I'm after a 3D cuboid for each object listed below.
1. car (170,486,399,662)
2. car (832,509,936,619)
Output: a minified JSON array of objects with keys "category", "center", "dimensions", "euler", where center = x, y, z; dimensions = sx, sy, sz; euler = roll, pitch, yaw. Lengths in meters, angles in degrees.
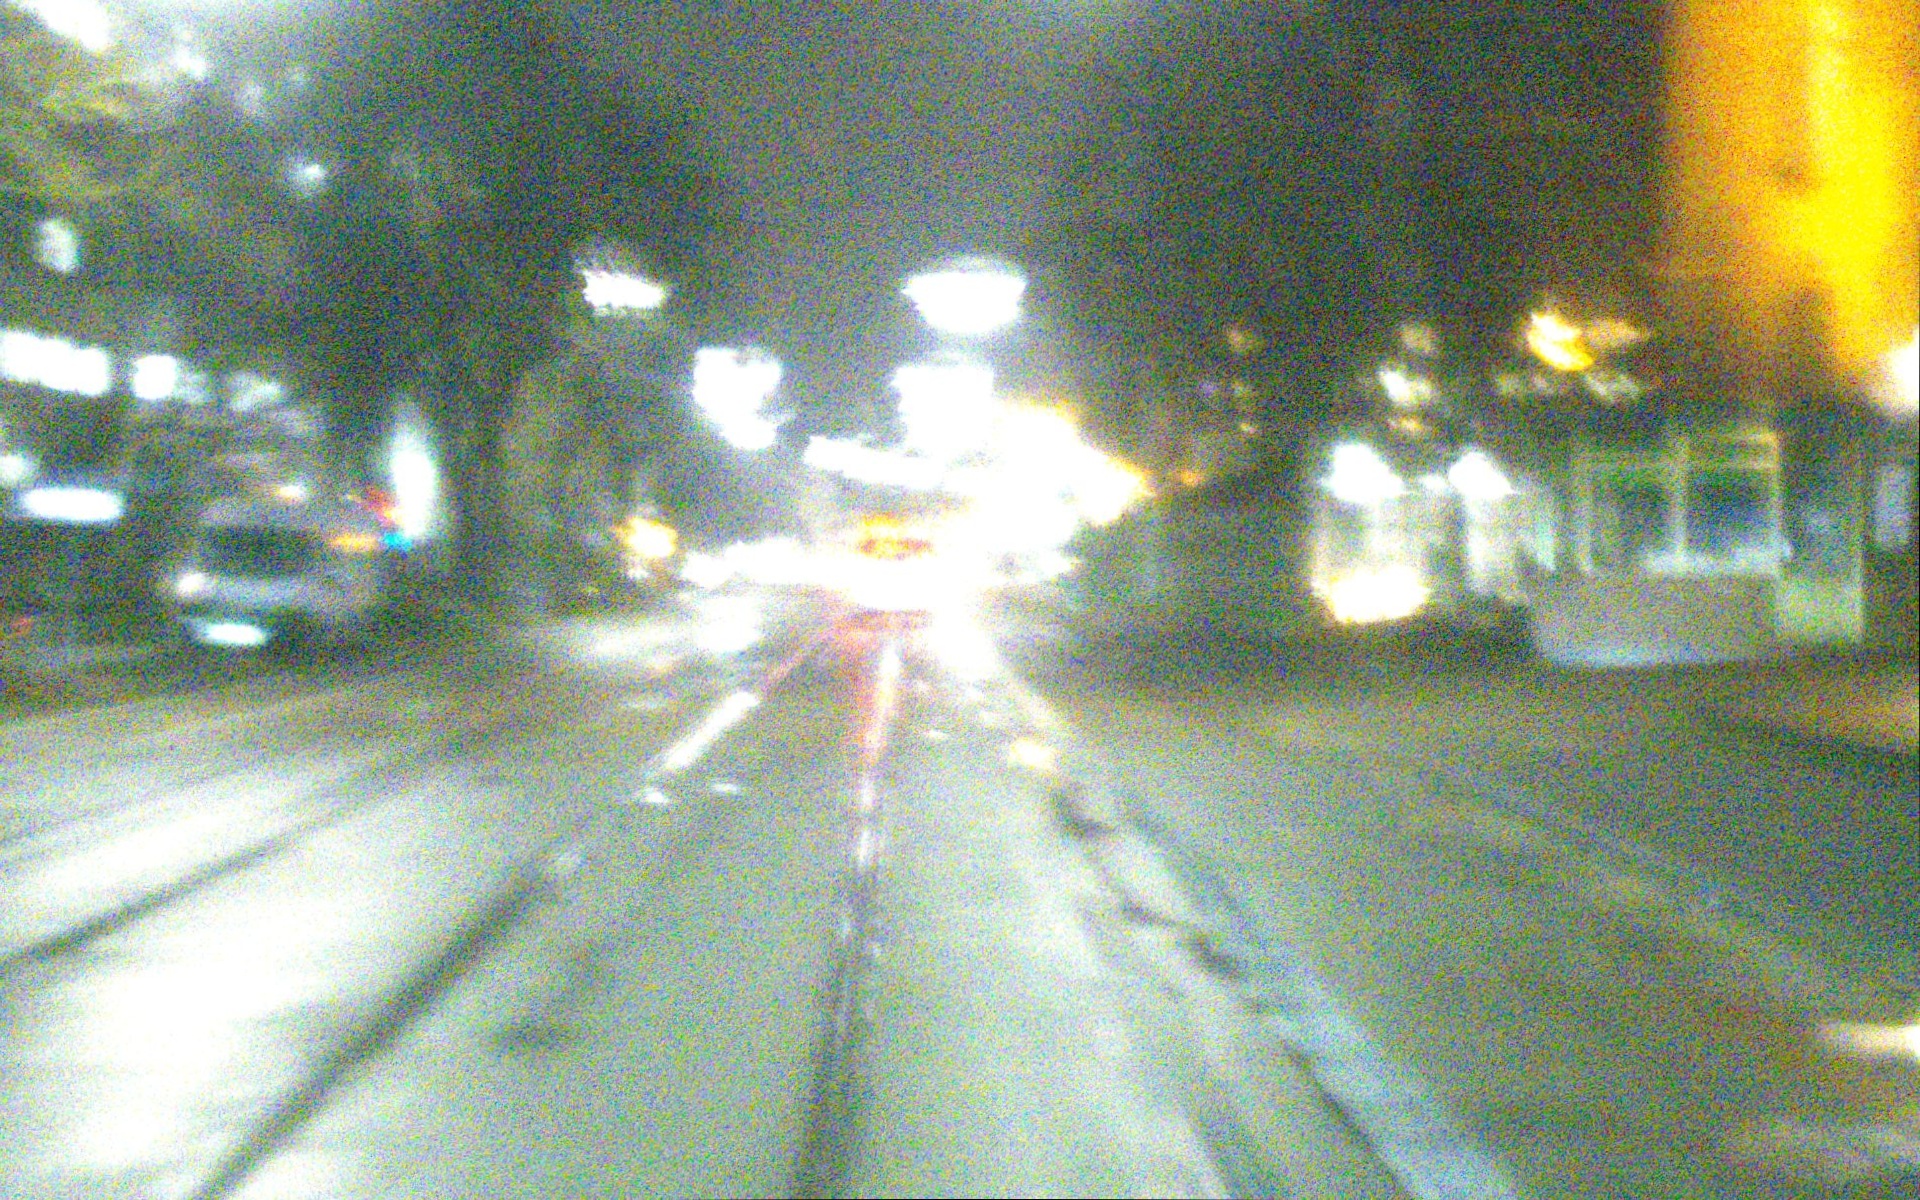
[{"category":"car","center":[-10.393,-0.467,53.439],"dimensions":[2.185,2.582,6.392],"euler":[0,2,1]},{"category":"car","center":[-1.720,-0.802,76.197],"dimensions":[2.244,2.353,4.394],"euler":[0,1,-2]}]
